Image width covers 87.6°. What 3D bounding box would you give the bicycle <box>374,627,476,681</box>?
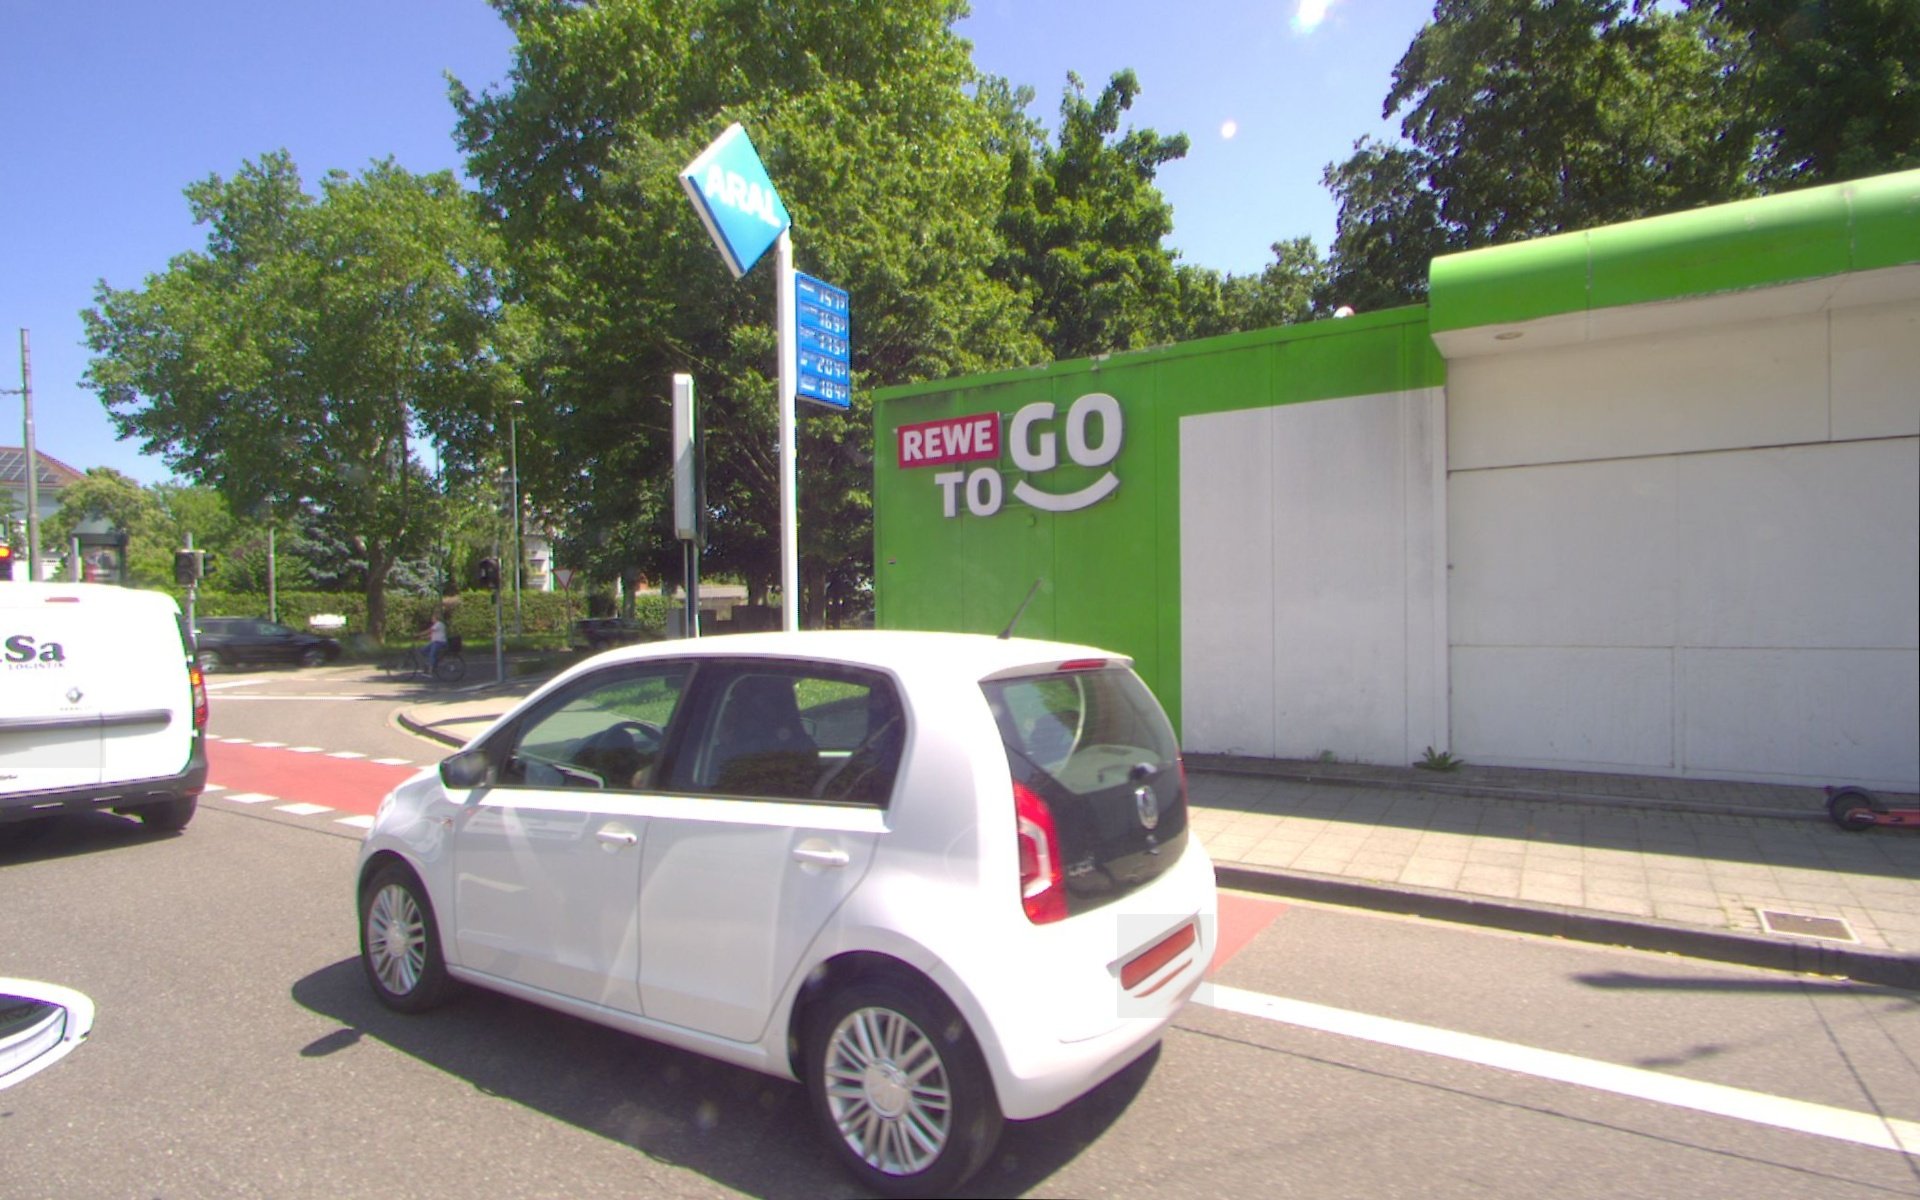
[{"bbox_3d":[-13.707,1.364,25.732,2.232,1.285,0.884,0,0,-23],"label":"bicycle"}]

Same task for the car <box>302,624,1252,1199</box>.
[{"bbox_3d":[-0.835,0.831,3.859,3.471,1.470,1.604,-1,-1,33],"label":"car"}]

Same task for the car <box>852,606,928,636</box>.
[{"bbox_3d":[-3.949,1.193,57.152,1.974,1.638,4.426,-1,-1,36],"label":"car"}]

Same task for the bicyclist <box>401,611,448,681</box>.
[{"bbox_3d":[-13.741,1.157,25.724,0.942,1.762,1.128,-1,0,-22],"label":"bicyclist"}]

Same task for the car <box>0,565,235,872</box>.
[{"bbox_3d":[-7.301,0.744,7.411,3.954,1.854,1.708,-1,0,31],"label":"car"}]

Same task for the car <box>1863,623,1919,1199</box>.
[{"bbox_3d":[3.559,0.754,0.502,4.355,1.468,1.792,-1,-1,33],"label":"car"}]

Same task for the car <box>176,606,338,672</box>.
[{"bbox_3d":[-21.627,1.154,30.859,3.955,1.884,1.983,0,0,-40],"label":"car"}]

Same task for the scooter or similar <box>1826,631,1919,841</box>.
[{"bbox_3d":[5.888,0.802,5.925,1.124,1.211,0.381,-1,3,37],"label":"scooter or similar"}]

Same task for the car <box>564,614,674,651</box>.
[{"bbox_3d":[-13.615,1.278,40.130,1.526,1.397,3.969,-1,-1,41],"label":"car"}]
